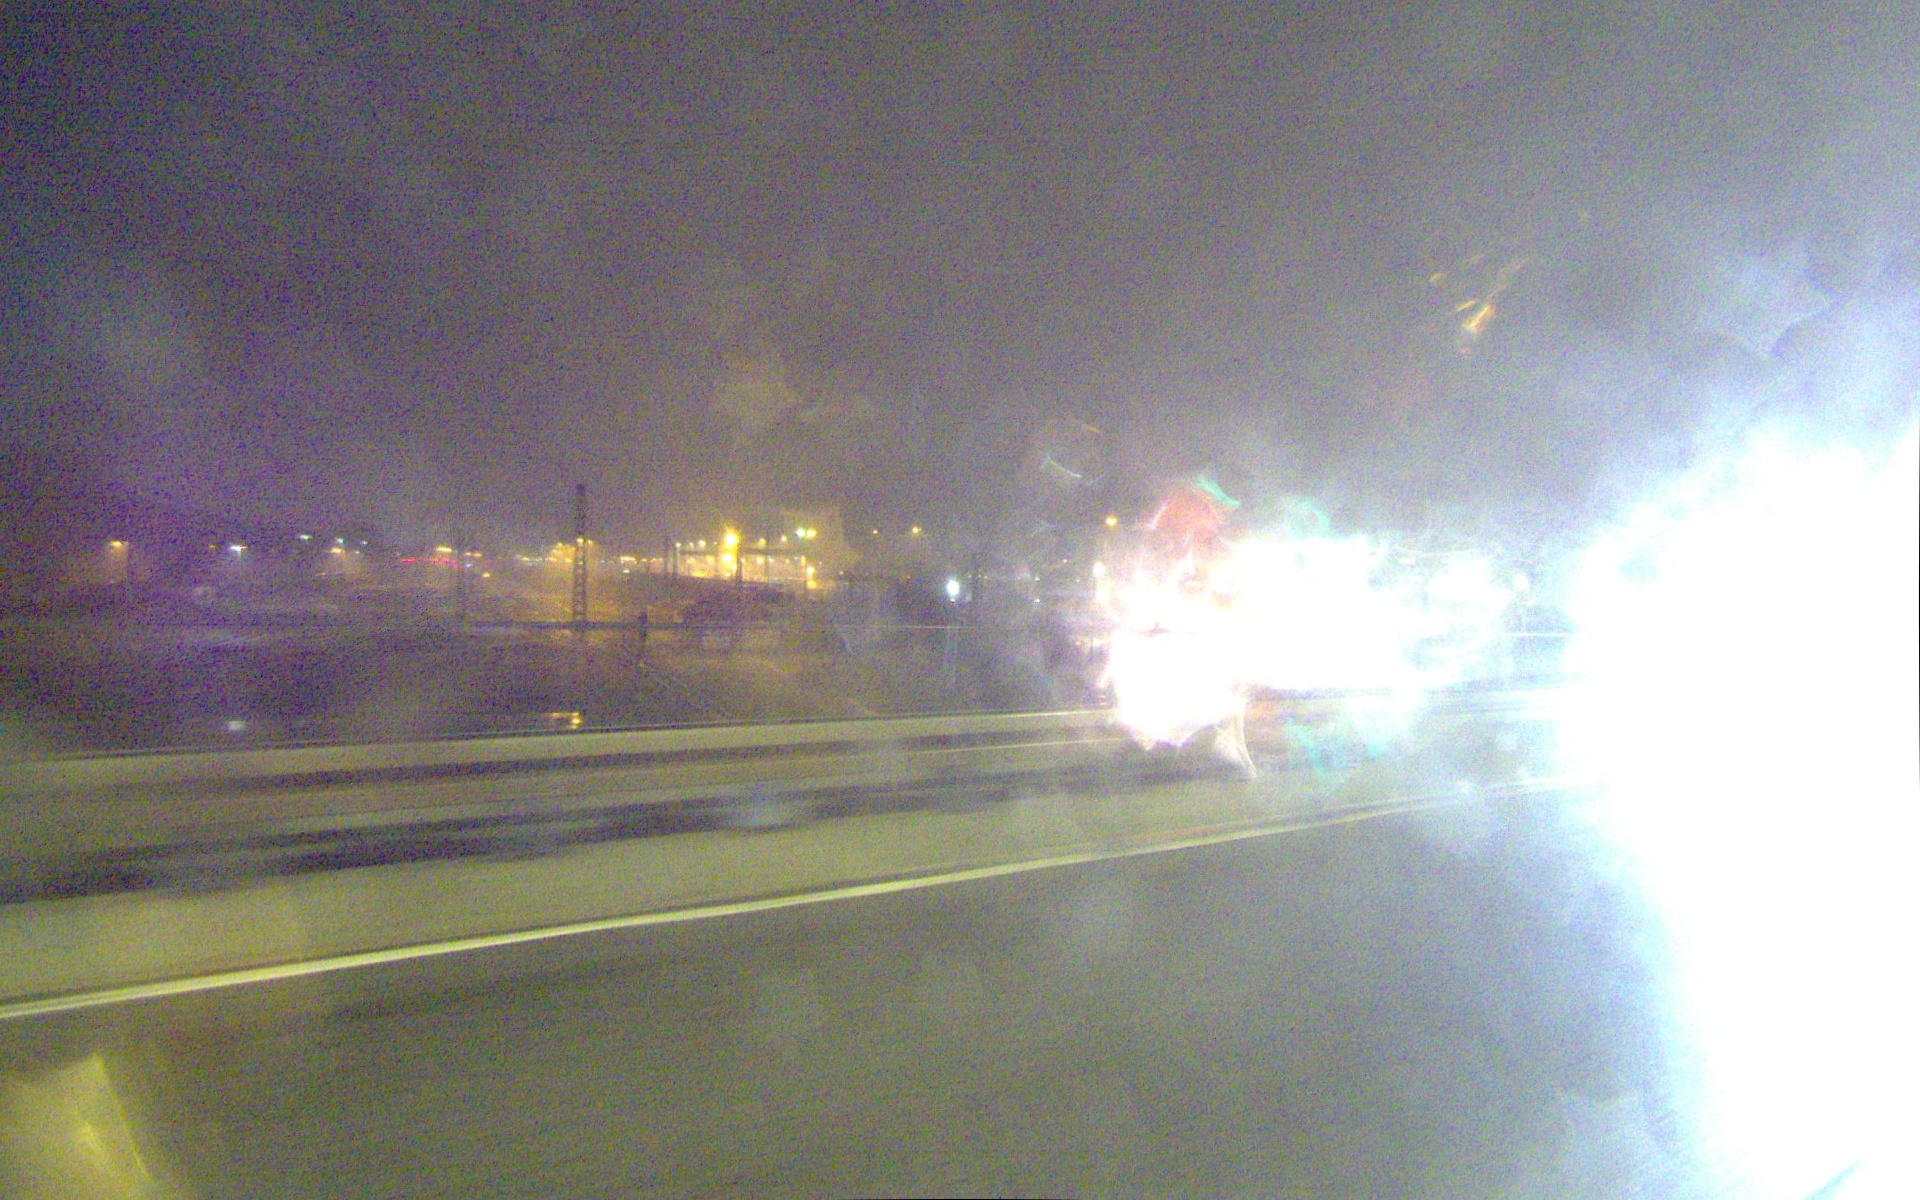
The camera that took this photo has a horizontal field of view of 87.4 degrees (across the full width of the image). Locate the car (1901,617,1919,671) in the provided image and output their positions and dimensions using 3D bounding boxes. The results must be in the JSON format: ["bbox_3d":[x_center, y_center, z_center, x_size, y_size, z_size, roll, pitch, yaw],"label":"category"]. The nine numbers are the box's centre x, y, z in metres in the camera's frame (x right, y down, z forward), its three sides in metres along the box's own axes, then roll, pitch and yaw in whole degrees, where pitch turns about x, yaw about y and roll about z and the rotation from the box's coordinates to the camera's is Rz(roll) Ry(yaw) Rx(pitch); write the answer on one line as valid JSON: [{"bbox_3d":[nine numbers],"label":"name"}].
[{"bbox_3d":[40.627,1.838,41.240,2.016,2.199,5.140,1,-1,33],"label":"car"}]
